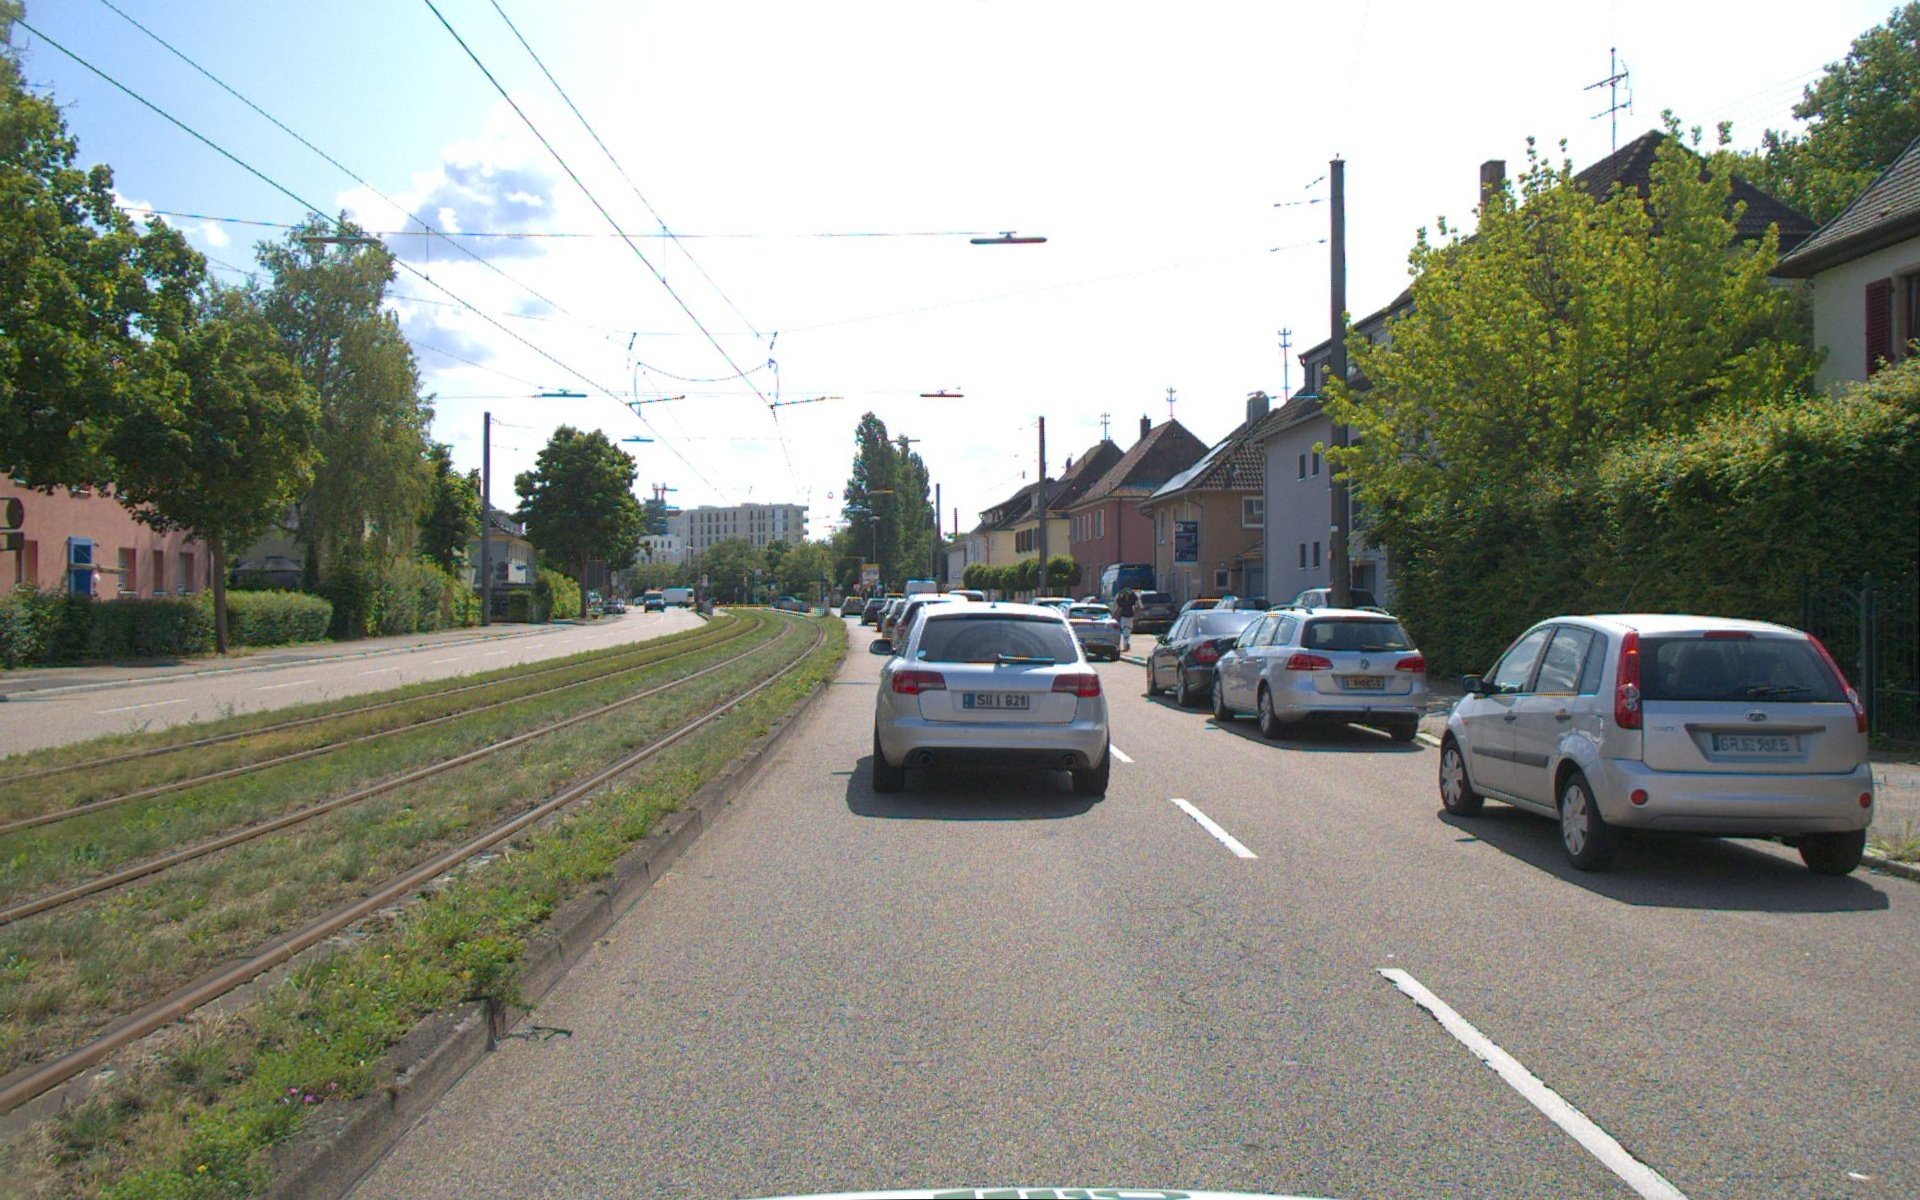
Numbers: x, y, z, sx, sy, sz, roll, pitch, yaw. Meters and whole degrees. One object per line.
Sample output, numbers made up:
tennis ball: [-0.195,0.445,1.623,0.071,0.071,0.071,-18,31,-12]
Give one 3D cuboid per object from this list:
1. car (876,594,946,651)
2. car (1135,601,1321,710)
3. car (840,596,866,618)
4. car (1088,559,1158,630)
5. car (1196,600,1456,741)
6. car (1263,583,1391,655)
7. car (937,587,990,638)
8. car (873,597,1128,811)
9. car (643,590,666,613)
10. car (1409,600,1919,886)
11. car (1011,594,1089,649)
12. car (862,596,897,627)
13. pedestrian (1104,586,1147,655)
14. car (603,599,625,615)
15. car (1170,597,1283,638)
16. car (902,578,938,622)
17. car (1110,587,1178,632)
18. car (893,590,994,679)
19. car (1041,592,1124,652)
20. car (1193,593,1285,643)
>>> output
car: [-1.392,0.603,45.757,1.847,1.491,4.092,0,0,-3]
car: [4.034,0.784,25.769,1.862,1.469,5.055,1,0,-2]
car: [-7.800,0.498,120.721,1.847,1.557,4.091,1,-1,-3]
car: [7.256,-0.210,74.238,2.109,2.981,6.239,1,-1,-4]
car: [4.310,0.786,20.341,1.852,1.481,5.003,1,-1,-3]
car: [9.239,0.471,42.069,1.723,1.676,4.763,-1,0,-6]
car: [0.110,0.427,59.437,1.846,1.761,4.094,0,0,0]
car: [0.238,0.751,14.145,1.817,1.518,4.534,1,0,-2]
car: [-32.765,0.160,177.585,2.155,2.413,5.322,-1,0,-8]
car: [4.407,0.796,11.005,1.701,1.515,4.094,1,-1,0]
car: [2.722,0.643,51.002,1.772,1.587,4.248,1,-1,-6]
car: [-4.323,0.617,88.707,1.847,1.557,4.091,1,-1,-3]
pedestrian: [4.849,0.592,48.409,1.090,1.980,1.091,0,-1,-4]
car: [-34.090,0.676,162.992,1.753,1.612,3.924,0,0,-8]
car: [9.297,0.621,57.855,3.579,1.404,1.724,0,-1,-6]
car: [-2.438,-0.011,99.982,2.000,2.602,5.227,0,0,-4]
car: [7.522,0.372,67.993,1.801,1.741,4.859,-2,0,-5]
car: [-0.388,0.653,33.068,1.752,1.604,4.091,2,0,-4]
car: [3.227,0.589,44.257,1.778,1.479,4.642,1,-1,-1]
car: [8.702,0.540,52.013,1.763,1.448,4.853,-1,0,-4]
